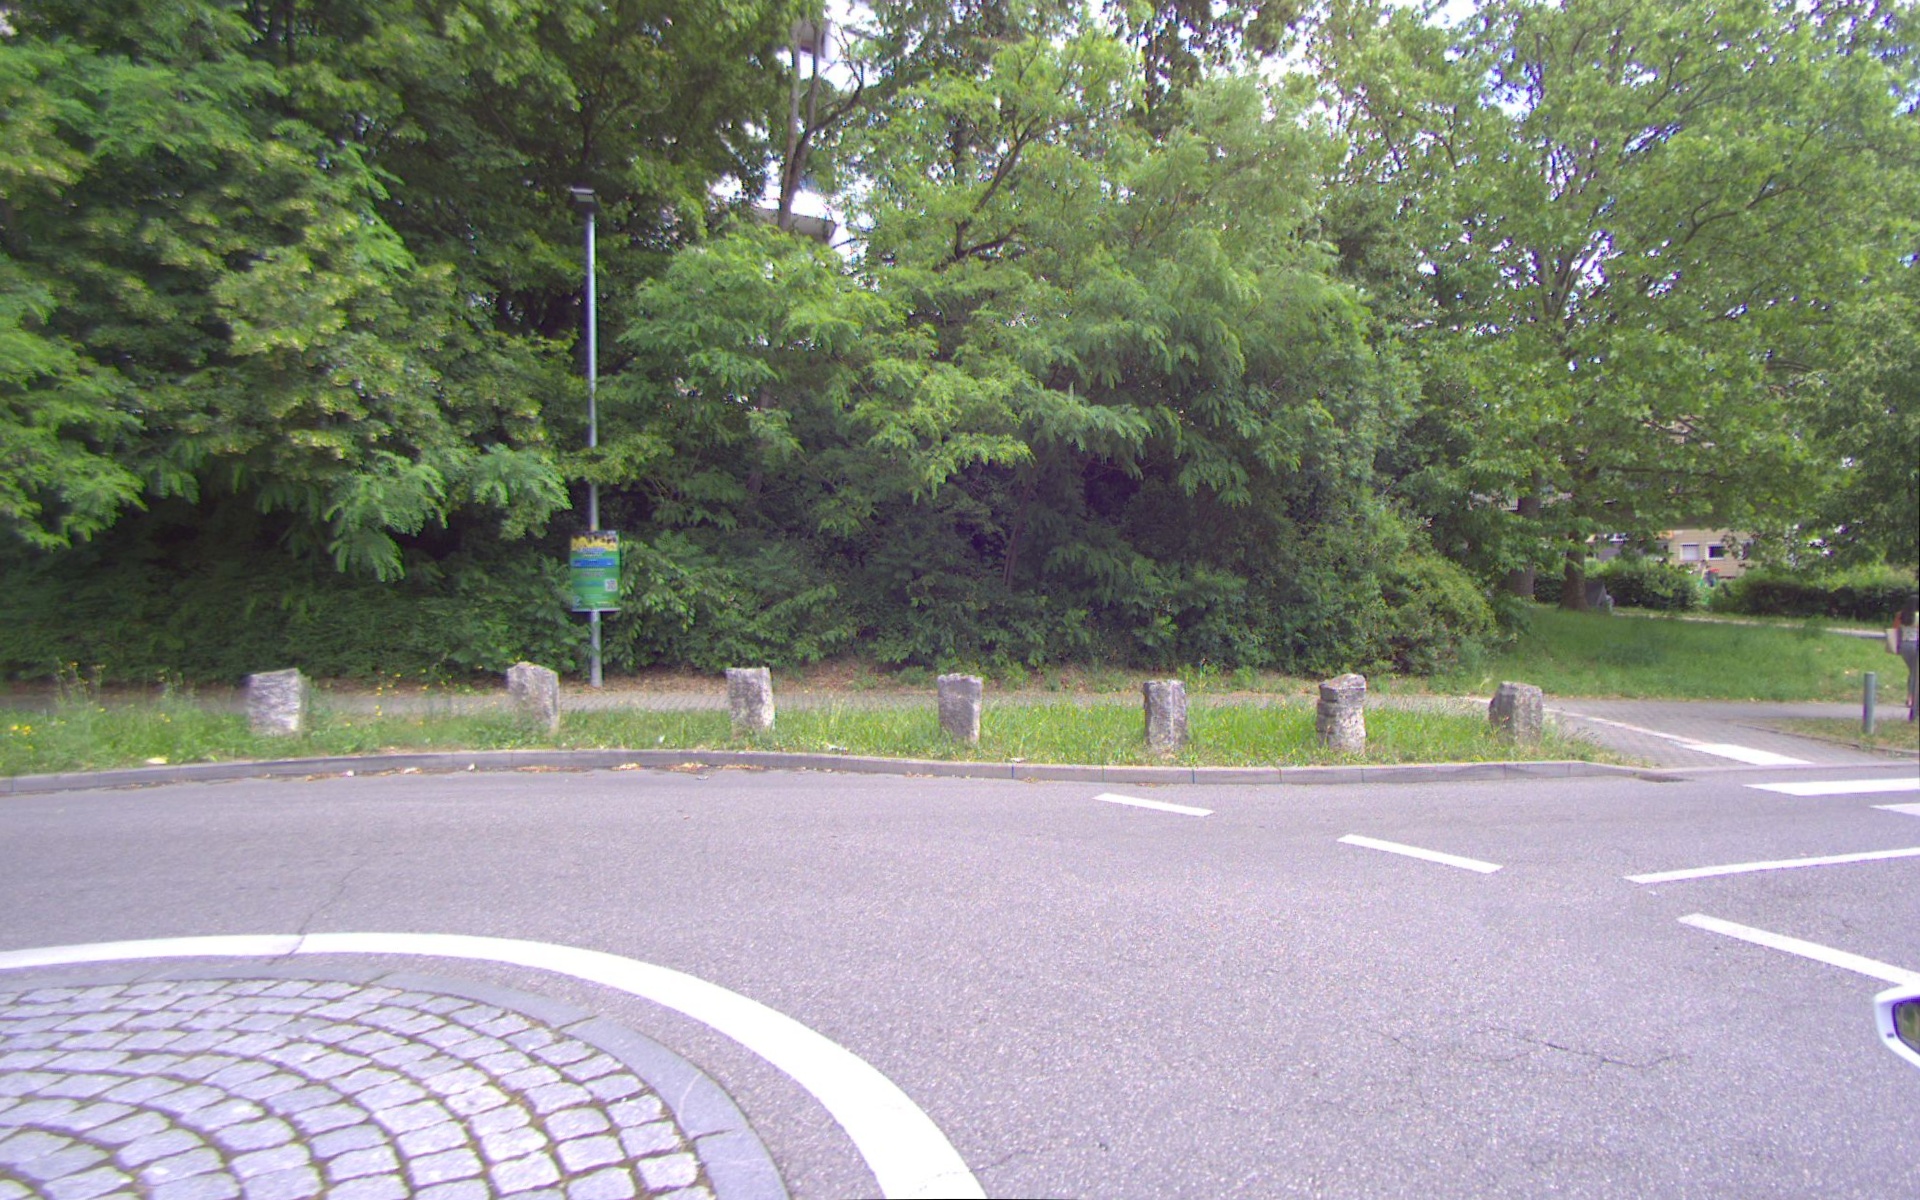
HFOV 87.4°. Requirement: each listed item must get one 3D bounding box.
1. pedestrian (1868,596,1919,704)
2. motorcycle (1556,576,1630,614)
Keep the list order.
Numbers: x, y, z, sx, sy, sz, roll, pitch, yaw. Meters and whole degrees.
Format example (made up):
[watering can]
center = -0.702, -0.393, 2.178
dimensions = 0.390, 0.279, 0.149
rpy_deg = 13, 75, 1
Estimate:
[pedestrian]
center = 15.715, 0.818, 16.731
dimensions = 0.654, 1.745, 0.731
rpy_deg = 0, 2, -39
[motorcycle]
center = 22.295, -0.190, 35.394
dimensions = 2.006, 1.287, 0.886
rpy_deg = 1, 2, -2
